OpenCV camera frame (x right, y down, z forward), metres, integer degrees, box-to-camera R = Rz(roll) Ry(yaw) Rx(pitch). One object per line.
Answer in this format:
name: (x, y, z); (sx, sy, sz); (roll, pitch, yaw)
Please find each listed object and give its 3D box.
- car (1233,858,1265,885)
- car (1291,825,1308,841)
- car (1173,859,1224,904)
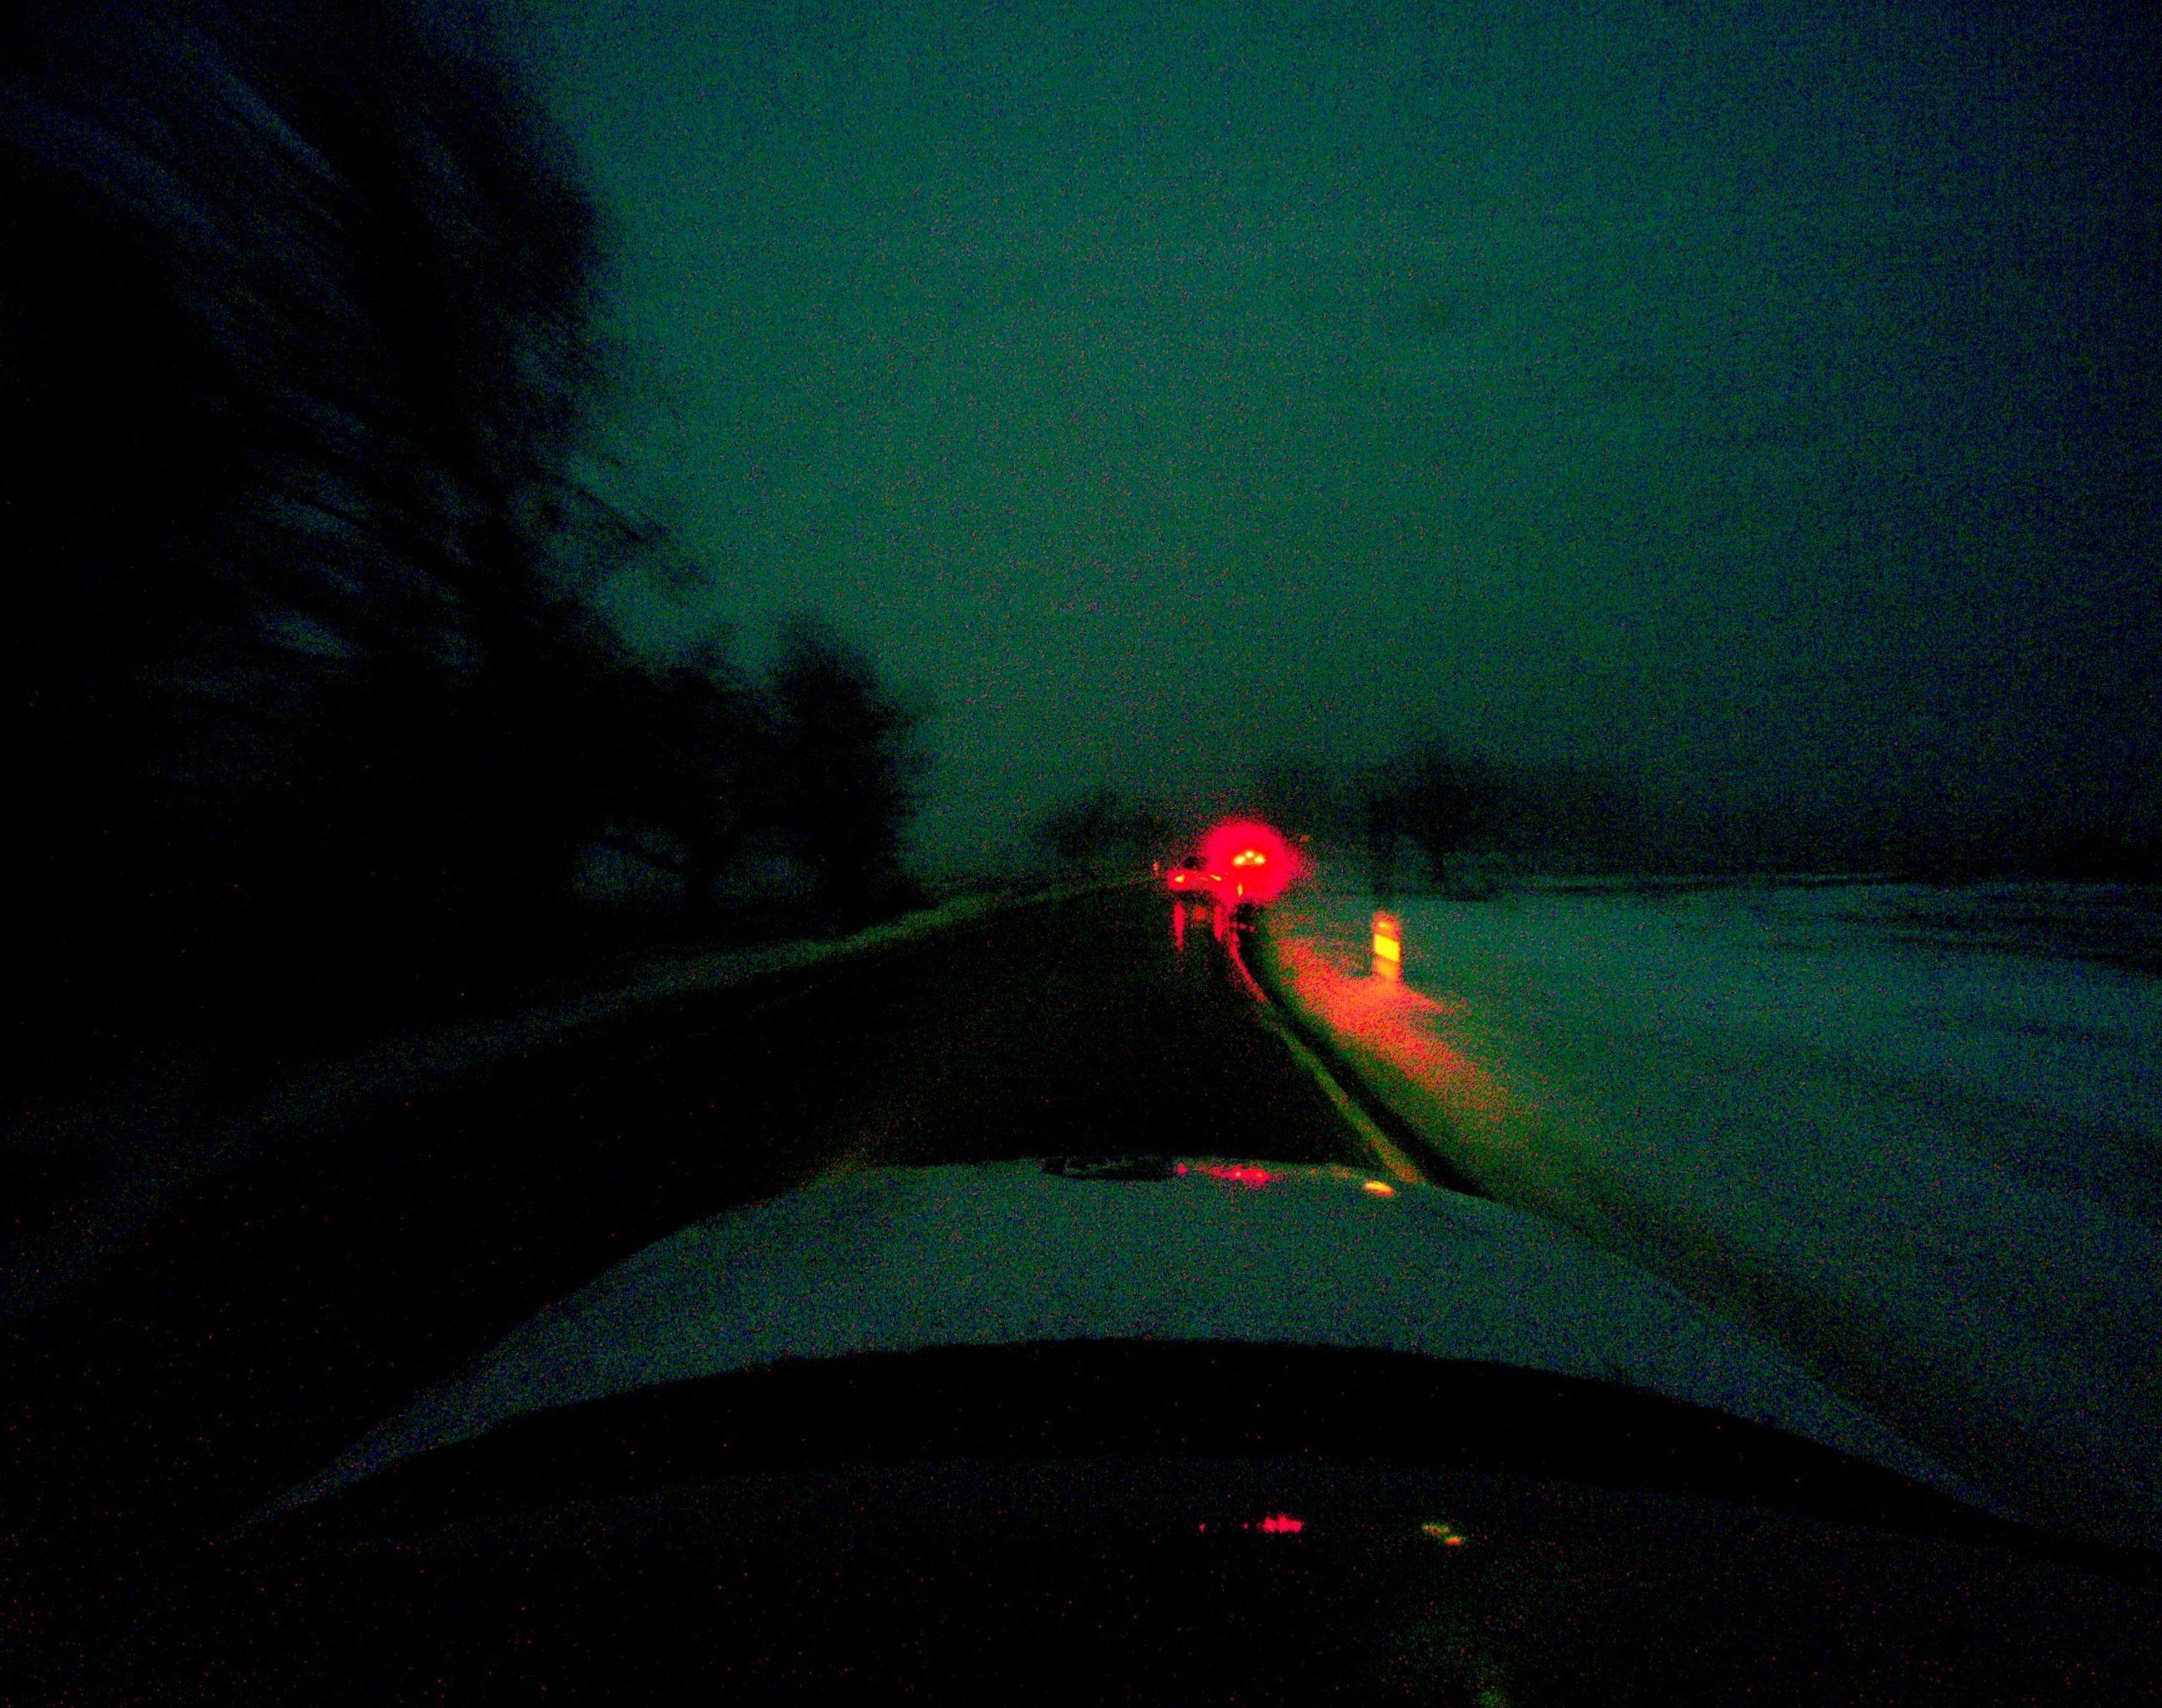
car: (10.045, 1.012, 48.561); (1.467, 1.508, 3.067); (-2, 0, 18)
car: (22.581, -2.178, 84.037); (1.510, 1.508, 3.067); (-2, -1, 18)
car: (4.271, 0.942, 29.195); (1.696, 1.463, 4.011); (1, 0, 10)
